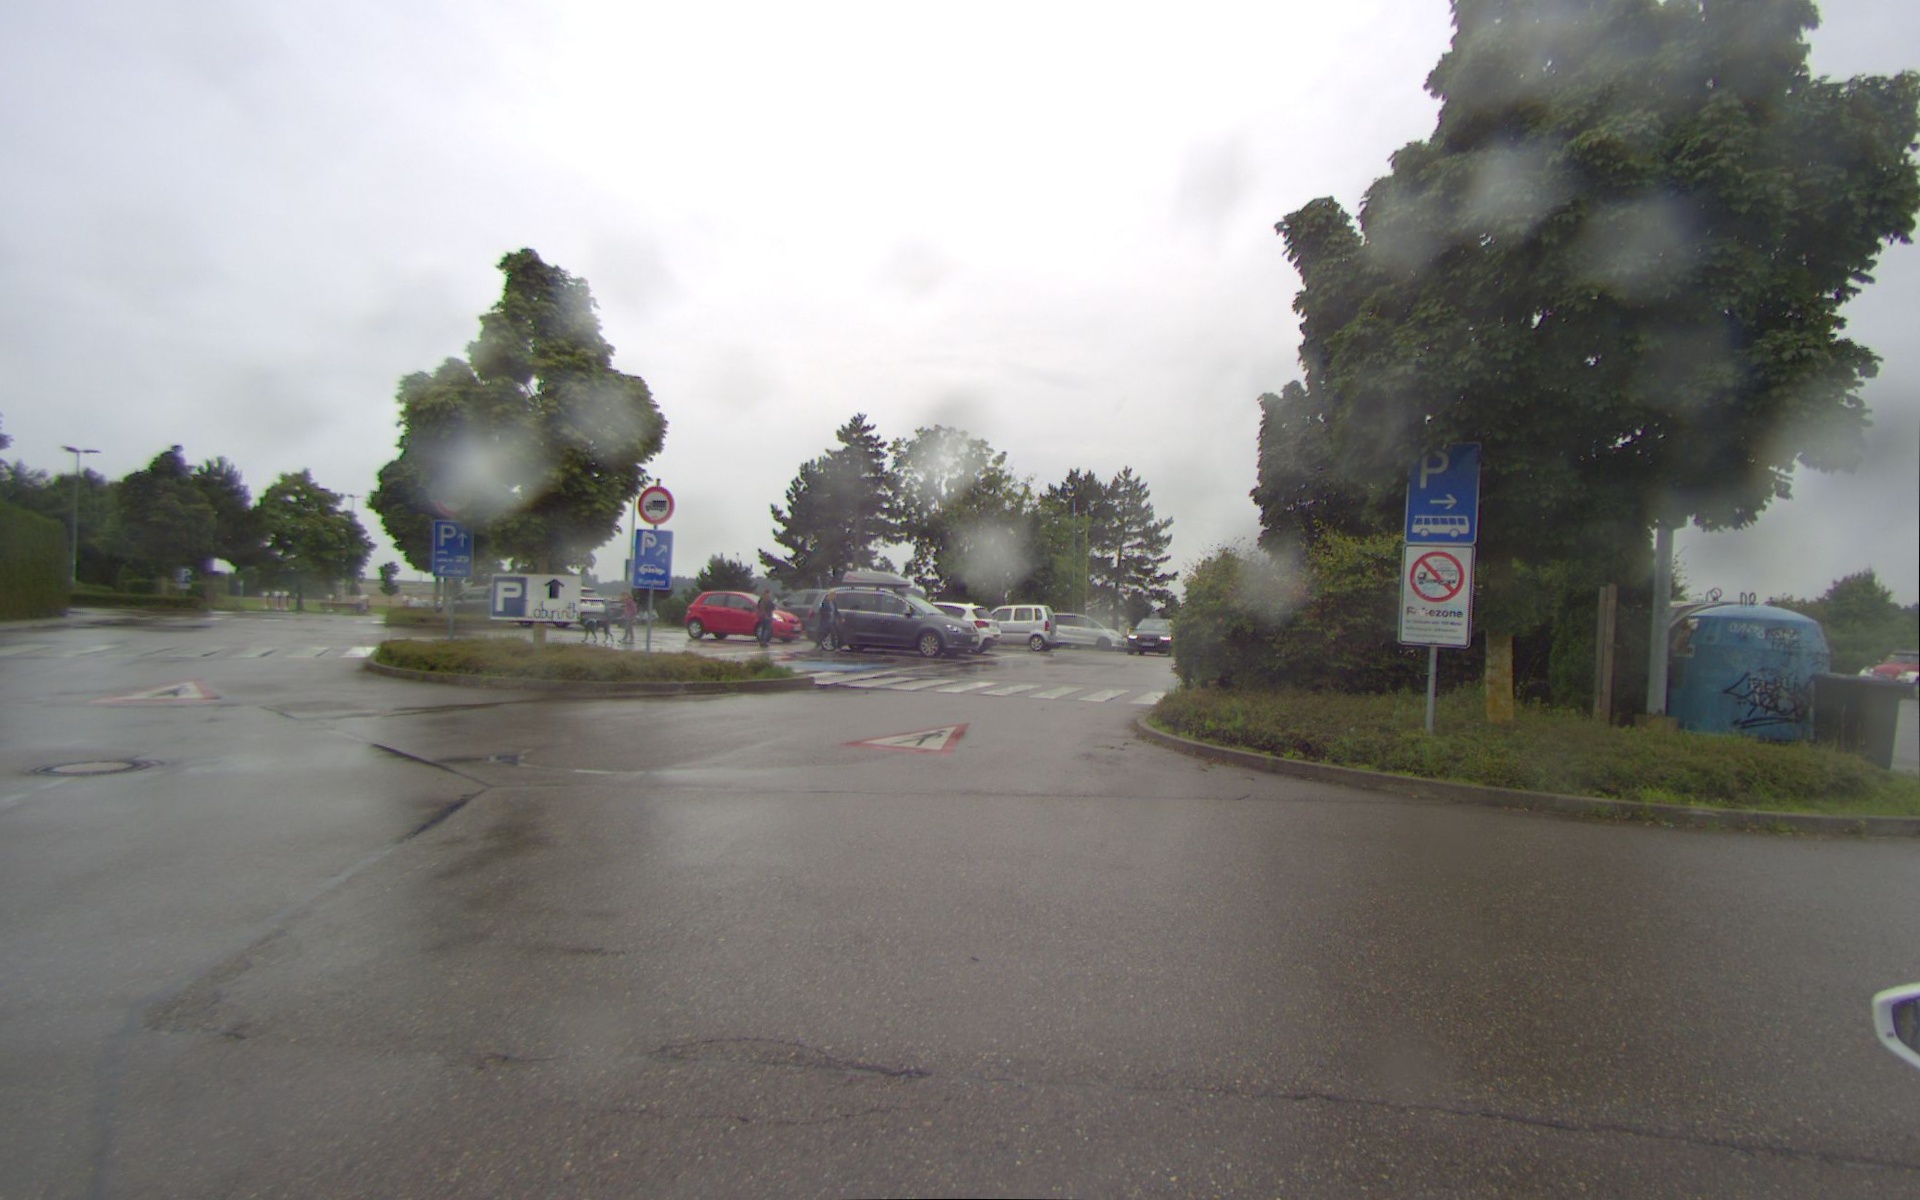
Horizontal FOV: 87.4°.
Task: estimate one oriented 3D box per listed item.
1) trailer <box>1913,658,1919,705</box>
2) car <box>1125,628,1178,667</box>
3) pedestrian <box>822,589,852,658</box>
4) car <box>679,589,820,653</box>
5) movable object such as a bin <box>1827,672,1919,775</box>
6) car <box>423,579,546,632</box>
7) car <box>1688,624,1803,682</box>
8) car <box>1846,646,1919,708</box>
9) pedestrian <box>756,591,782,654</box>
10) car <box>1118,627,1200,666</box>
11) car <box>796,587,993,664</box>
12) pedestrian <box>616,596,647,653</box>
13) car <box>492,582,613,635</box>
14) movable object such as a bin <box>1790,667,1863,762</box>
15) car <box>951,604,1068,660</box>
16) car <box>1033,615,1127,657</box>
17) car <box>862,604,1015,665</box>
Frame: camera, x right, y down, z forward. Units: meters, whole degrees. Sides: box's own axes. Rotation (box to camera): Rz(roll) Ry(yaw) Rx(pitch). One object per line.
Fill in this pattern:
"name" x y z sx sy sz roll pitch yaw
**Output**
"trailer" 34.317 2.857 33.956 3.946 1.553 1.690 3 -1 -25
"car" 7.676 1.924 40.026 1.617 1.388 4.002 3 -2 17
"pedestrian" -3.199 0.616 26.165 0.671 1.747 0.611 3 -2 -5
"car" -6.682 0.643 31.919 3.943 1.816 1.851 2 0 19
"movable object such as a bin" 9.241 1.239 10.178 0.464 0.961 0.435 3 1 -3
"car" -17.505 0.195 37.007 3.946 1.738 1.721 2 -2 19
"car" 36.920 2.507 47.173 5.951 2.411 1.986 4 -3 -28
"car" 30.716 2.520 32.336 3.946 1.800 1.817 4 -1 -24
"pedestrian" -5.167 0.610 27.179 0.635 1.660 0.715 2 -2 -11
"car" 11.294 2.594 56.848 4.282 1.886 1.851 3 -1 19
"car" -1.753 0.637 27.023 4.853 1.816 2.000 2 0 19
"pedestrian" -8.247 0.614 25.237 0.635 1.379 0.450 4 -2 -22
"car" -16.087 0.352 39.678 4.282 1.886 1.721 2 -2 19
"movable object such as a bin" 9.314 1.225 10.800 0.445 0.961 0.402 3 1 -28
"car" 1.869 1.202 37.380 3.943 1.886 1.851 2 -2 19
"car" 5.936 1.790 49.776 4.282 1.886 1.851 2 -2 19
"car" -0.616 0.955 29.503 4.115 1.537 1.743 2 1 20
